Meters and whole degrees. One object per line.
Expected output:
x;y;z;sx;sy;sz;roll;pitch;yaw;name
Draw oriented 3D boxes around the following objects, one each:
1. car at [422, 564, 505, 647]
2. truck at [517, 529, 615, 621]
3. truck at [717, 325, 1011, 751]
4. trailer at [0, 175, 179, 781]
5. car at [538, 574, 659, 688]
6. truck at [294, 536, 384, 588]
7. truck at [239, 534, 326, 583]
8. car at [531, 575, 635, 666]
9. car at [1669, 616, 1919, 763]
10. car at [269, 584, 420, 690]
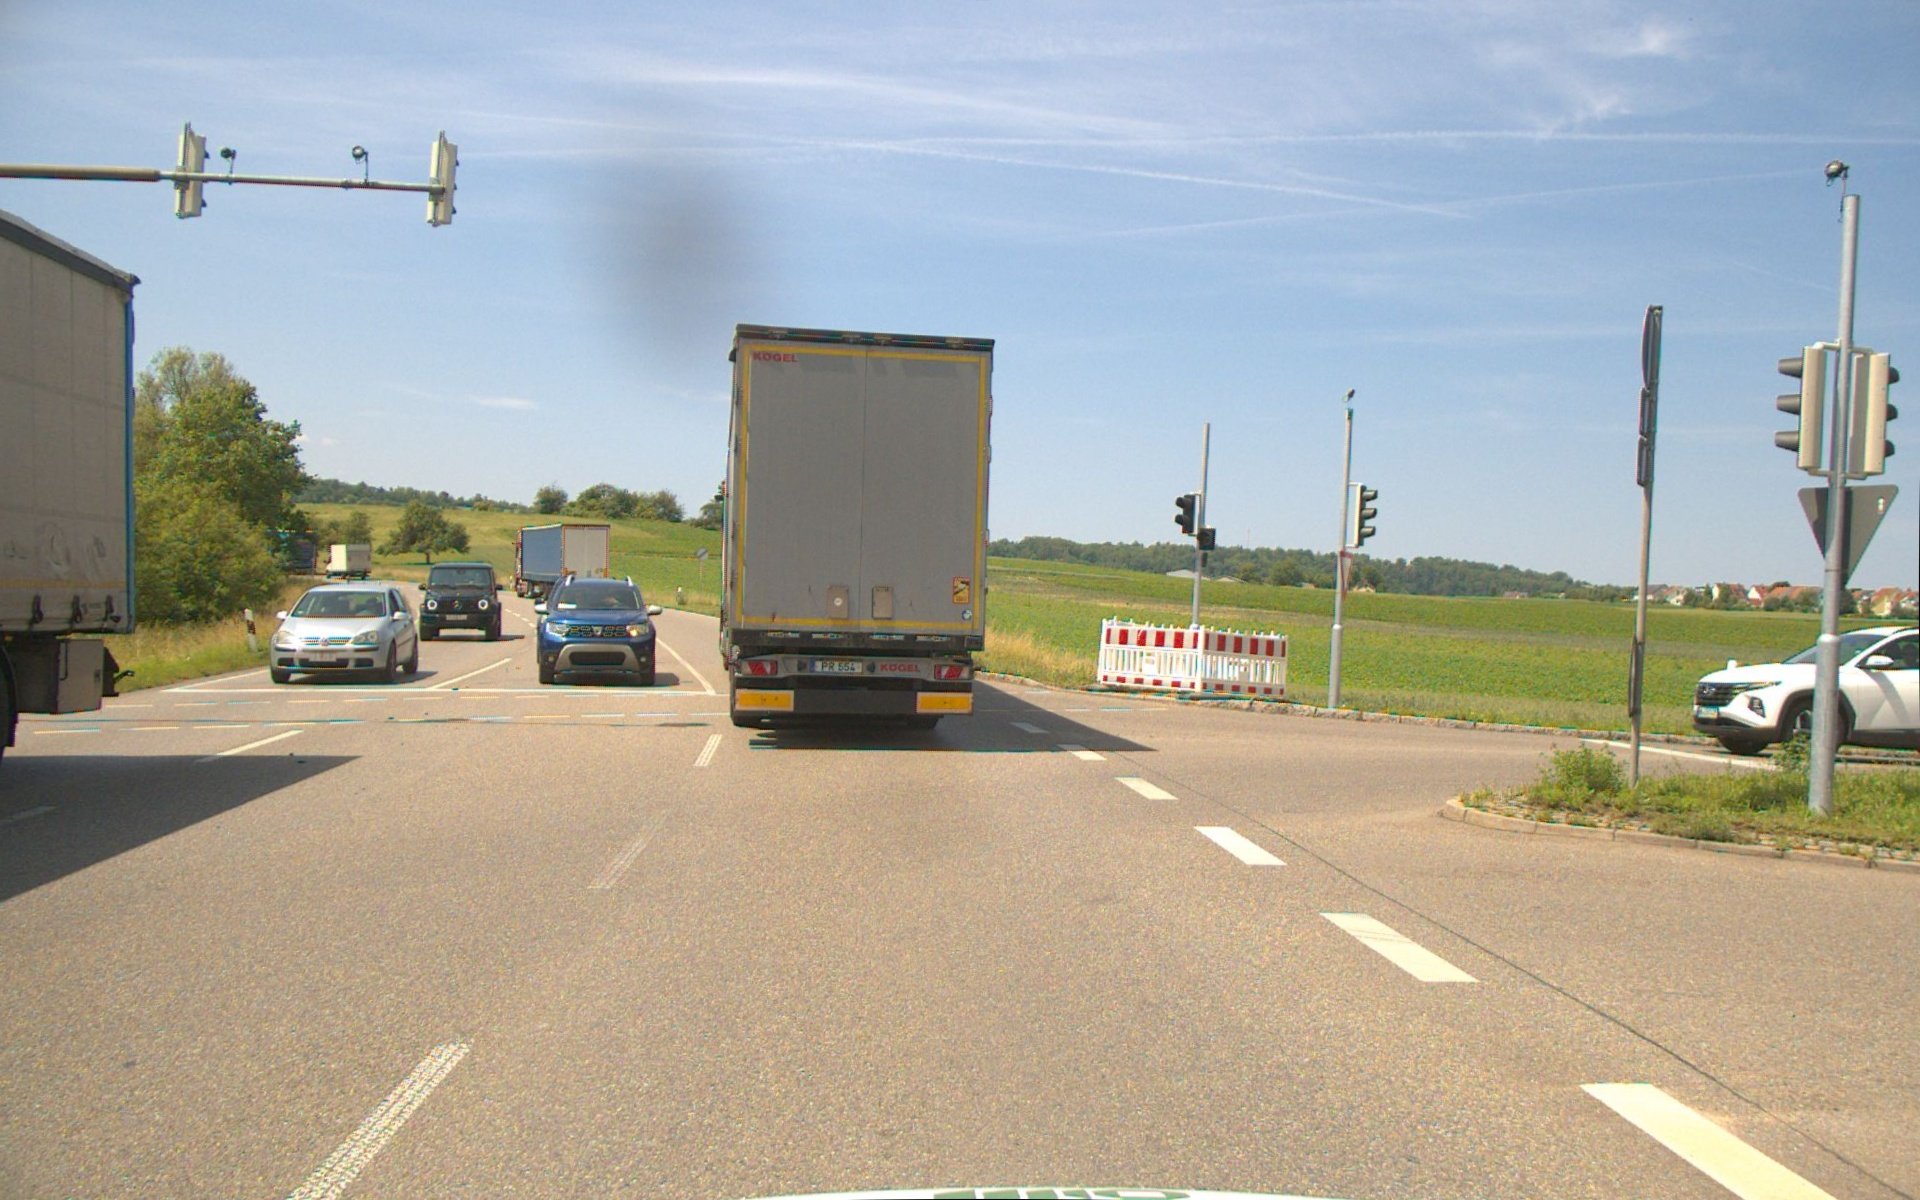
-13.264;0.128;44.203;1.963;2.041;5.139;1;0;-17;car
-22.417;-1.287;93.211;2.920;4.664;16.205;1;0;-22;truck
-1.570;-0.575;20.561;2.755;4.015;9.572;1;0;-8;truck
-7.358;-0.793;7.631;2.517;4.100;13.575;1;1;-7;trailer
-5.836;0.462;26.685;1.740;1.687;3.987;1;0;-13;car
-55.026;-3.275;146.234;3.612;4.202;12.916;3;-2;-38;truck
-65.254;-3.874;159.002;3.510;4.315;13.201;3;-2;-41;truck
-7.496;0.384;33.194;1.738;1.687;3.991;1;0;-9;car
11.509;1.142;20.528;4.533;1.635;1.997;3;-1;-3;car
-9.605;0.534;26.077;1.741;1.522;3.986;0;0;-14;car
